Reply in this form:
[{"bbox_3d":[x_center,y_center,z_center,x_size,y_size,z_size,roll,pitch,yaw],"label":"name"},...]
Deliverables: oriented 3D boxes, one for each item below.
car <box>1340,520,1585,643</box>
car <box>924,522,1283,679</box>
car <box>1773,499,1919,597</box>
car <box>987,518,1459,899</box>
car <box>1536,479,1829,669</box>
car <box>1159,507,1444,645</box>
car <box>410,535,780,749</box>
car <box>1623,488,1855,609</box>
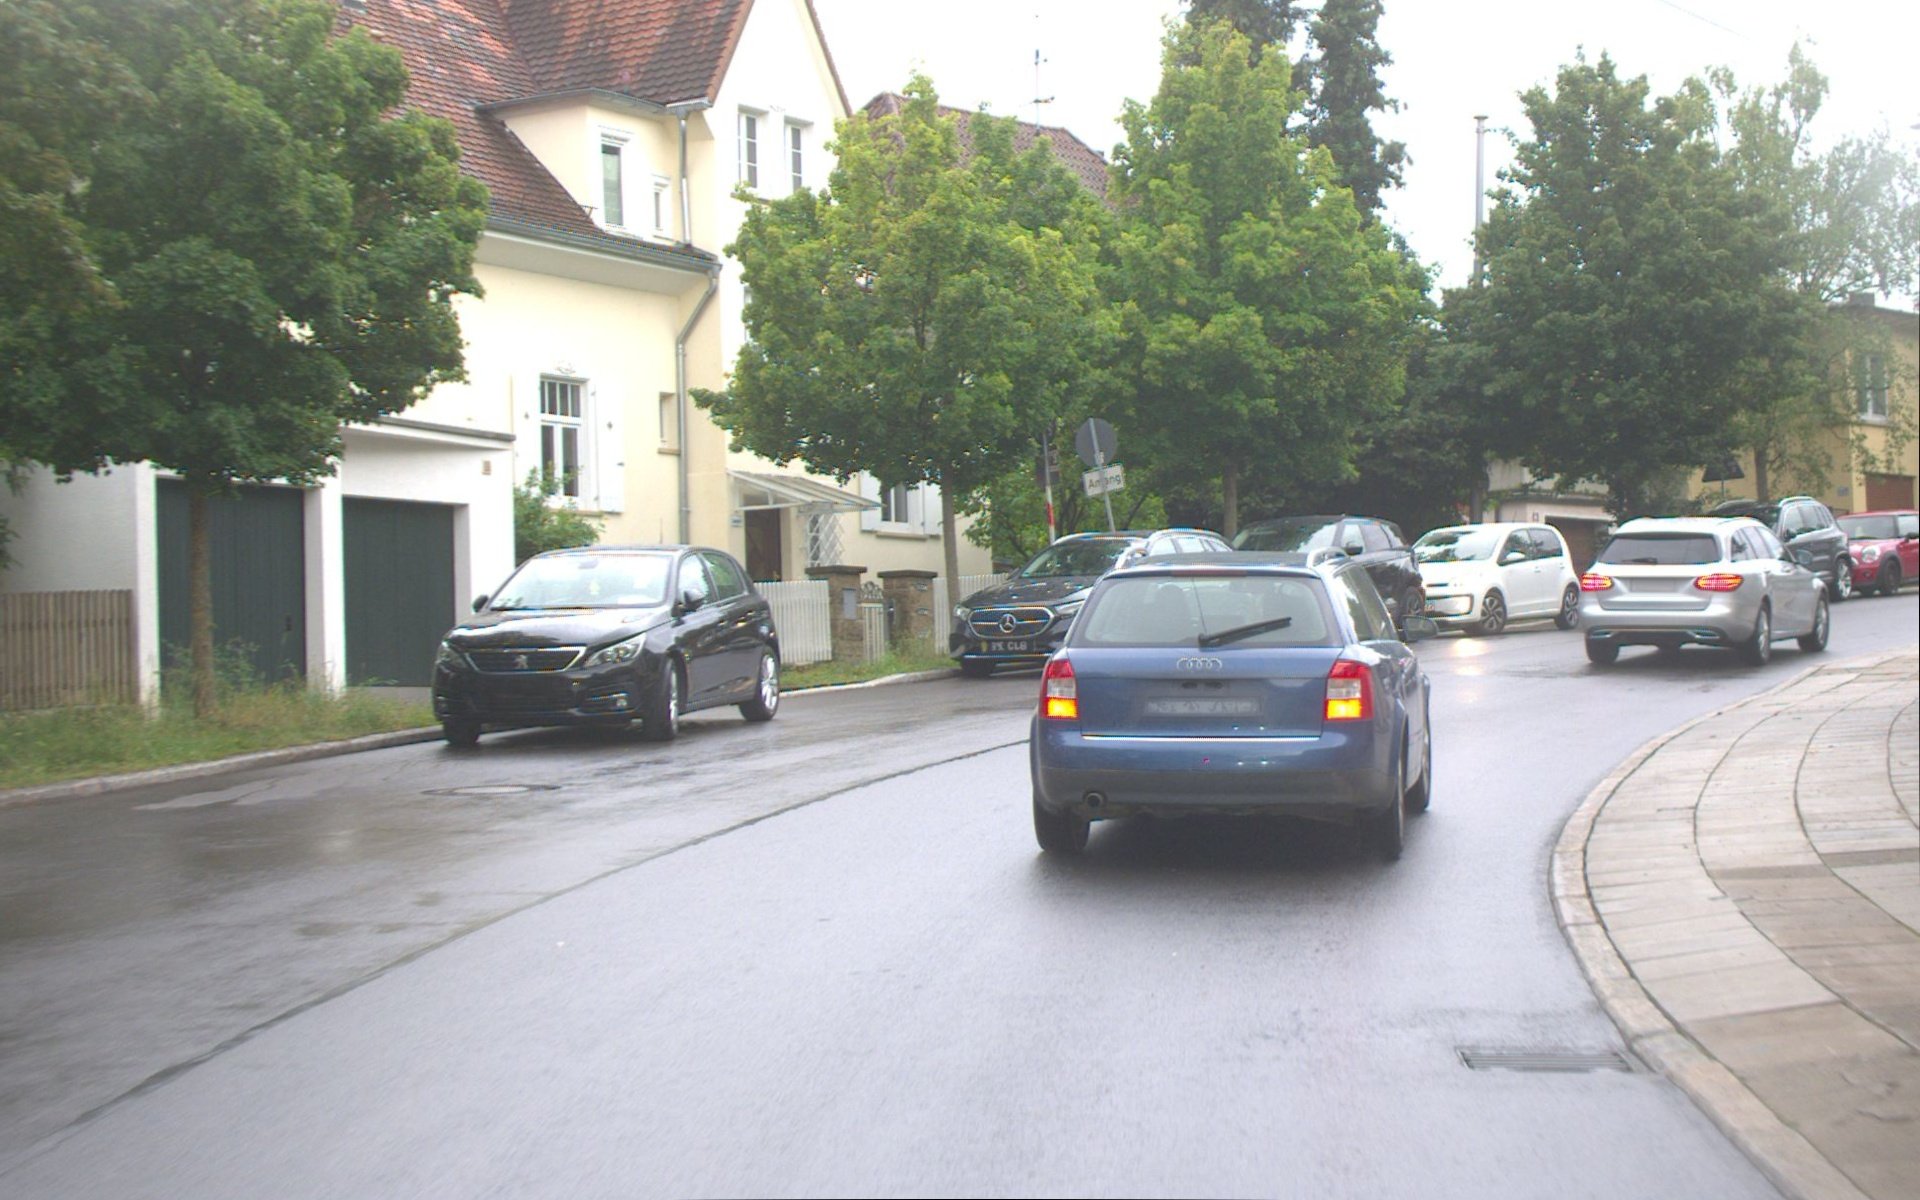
[{"bbox_3d":[6.708,-0.273,45.584,1.736,1.461,3.993,-1,2,32],"label":"car"},{"bbox_3d":[1.645,-0.033,37.321,1.869,1.540,4.897,-1,1,29],"label":"car"},{"bbox_3d":[15.184,-0.898,57.193,1.685,1.467,3.857,-4,0,38],"label":"car"},{"bbox_3d":[1.432,0.445,17.122,1.734,1.461,3.999,-2,3,13],"label":"car"},{"bbox_3d":[7.526,-0.310,35.510,1.978,1.629,4.230,-2,3,25],"label":"car"},{"bbox_3d":[4.193,-0.317,41.623,1.736,1.540,4.203,-1,1,32],"label":"car"},{"bbox_3d":[-2.726,0.273,26.570,1.671,1.461,3.893,-2,1,12],"label":"car"},{"bbox_3d":[12.035,-0.812,52.933,1.804,1.663,4.417,-4,0,36],"label":"car"}]
